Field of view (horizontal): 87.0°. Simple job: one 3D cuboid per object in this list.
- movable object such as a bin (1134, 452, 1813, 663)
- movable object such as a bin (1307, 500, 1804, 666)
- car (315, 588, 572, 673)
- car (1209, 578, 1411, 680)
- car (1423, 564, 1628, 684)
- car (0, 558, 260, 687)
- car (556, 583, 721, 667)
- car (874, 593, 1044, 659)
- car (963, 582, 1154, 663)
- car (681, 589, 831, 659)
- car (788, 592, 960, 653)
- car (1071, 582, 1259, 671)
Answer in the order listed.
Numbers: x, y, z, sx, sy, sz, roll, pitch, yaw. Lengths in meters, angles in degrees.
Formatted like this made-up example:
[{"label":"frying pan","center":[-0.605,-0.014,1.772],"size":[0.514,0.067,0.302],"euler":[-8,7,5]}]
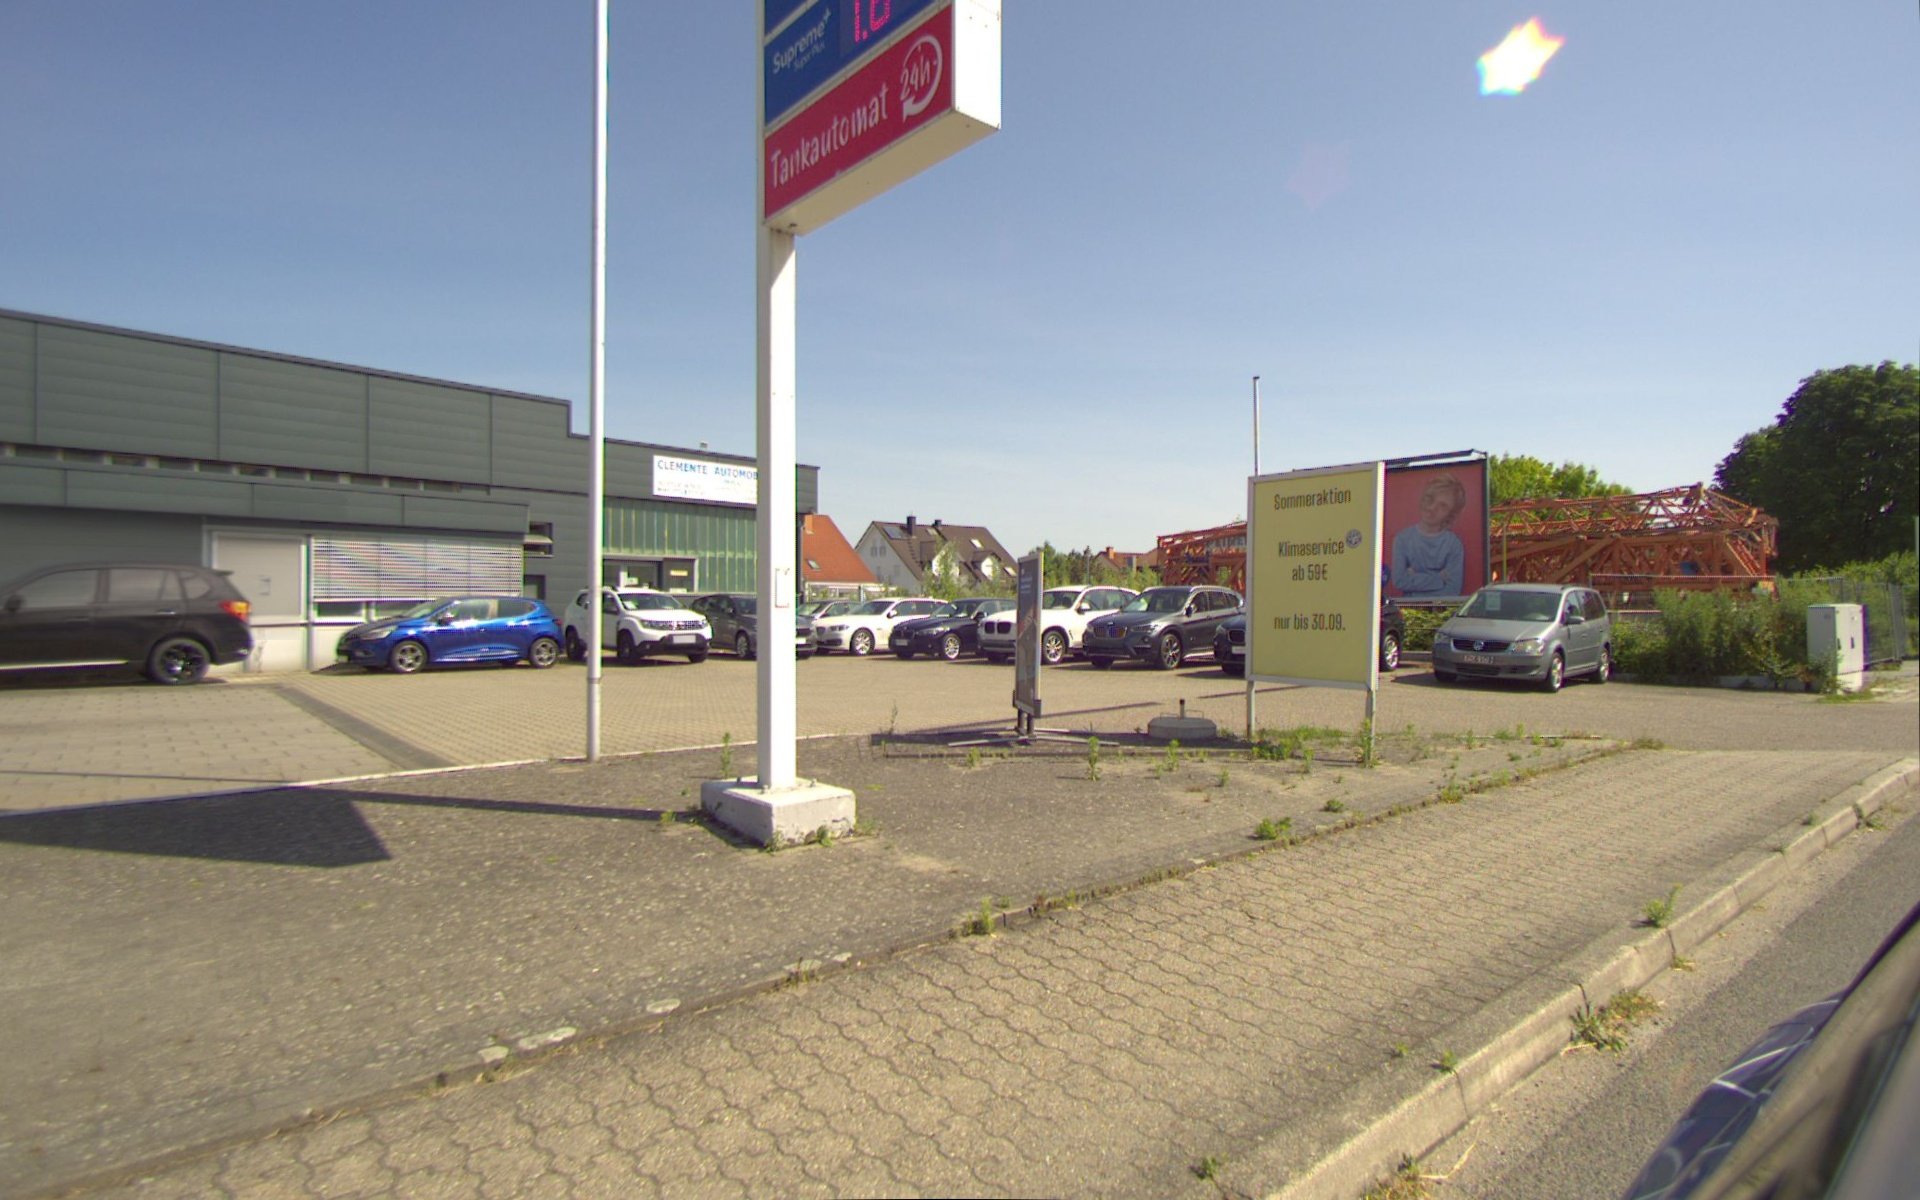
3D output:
[{"label":"movable object such as a bin","center":[11.687,-0.829,26.510],"size":[2.725,4.069,16.080],"euler":[0,0,-40]},{"label":"movable object such as a bin","center":[17.643,-0.450,31.729],"size":[2.812,4.218,13.277],"euler":[0,0,-40]},{"label":"car","center":[-9.822,0.512,19.485],"size":[1.790,1.450,4.067],"euler":[0,0,41]},{"label":"car","center":[6.324,0.434,18.074],"size":[1.969,1.612,3.937],"euler":[0,0,44]},{"label":"car","center":[9.388,0.361,16.647],"size":[4.296,1.707,1.805],"euler":[1,0,-44]},{"label":"car","center":[-13.389,0.338,14.908],"size":[1.801,1.764,4.748],"euler":[-1,-2,39]},{"label":"car","center":[-7.042,0.475,21.938],"size":[1.782,1.654,4.143],"euler":[-1,0,-44]},{"label":"car","center":[0.045,0.550,24.008],"size":[1.841,1.404,3.937],"euler":[0,0,44]},{"label":"car","center":[2.256,0.427,22.353],"size":[1.998,1.612,4.270],"euler":[0,0,44]},{"label":"car","center":[-4.817,0.512,23.636],"size":[1.782,1.492,3.681],"euler":[-1,0,-44]},{"label":"car","center":[-2.134,0.515,26.018],"size":[1.841,1.404,4.307],"euler":[0,0,43]},{"label":"car","center":[4.191,0.455,20.320],"size":[1.841,1.612,4.041],"euler":[0,0,43]}]
